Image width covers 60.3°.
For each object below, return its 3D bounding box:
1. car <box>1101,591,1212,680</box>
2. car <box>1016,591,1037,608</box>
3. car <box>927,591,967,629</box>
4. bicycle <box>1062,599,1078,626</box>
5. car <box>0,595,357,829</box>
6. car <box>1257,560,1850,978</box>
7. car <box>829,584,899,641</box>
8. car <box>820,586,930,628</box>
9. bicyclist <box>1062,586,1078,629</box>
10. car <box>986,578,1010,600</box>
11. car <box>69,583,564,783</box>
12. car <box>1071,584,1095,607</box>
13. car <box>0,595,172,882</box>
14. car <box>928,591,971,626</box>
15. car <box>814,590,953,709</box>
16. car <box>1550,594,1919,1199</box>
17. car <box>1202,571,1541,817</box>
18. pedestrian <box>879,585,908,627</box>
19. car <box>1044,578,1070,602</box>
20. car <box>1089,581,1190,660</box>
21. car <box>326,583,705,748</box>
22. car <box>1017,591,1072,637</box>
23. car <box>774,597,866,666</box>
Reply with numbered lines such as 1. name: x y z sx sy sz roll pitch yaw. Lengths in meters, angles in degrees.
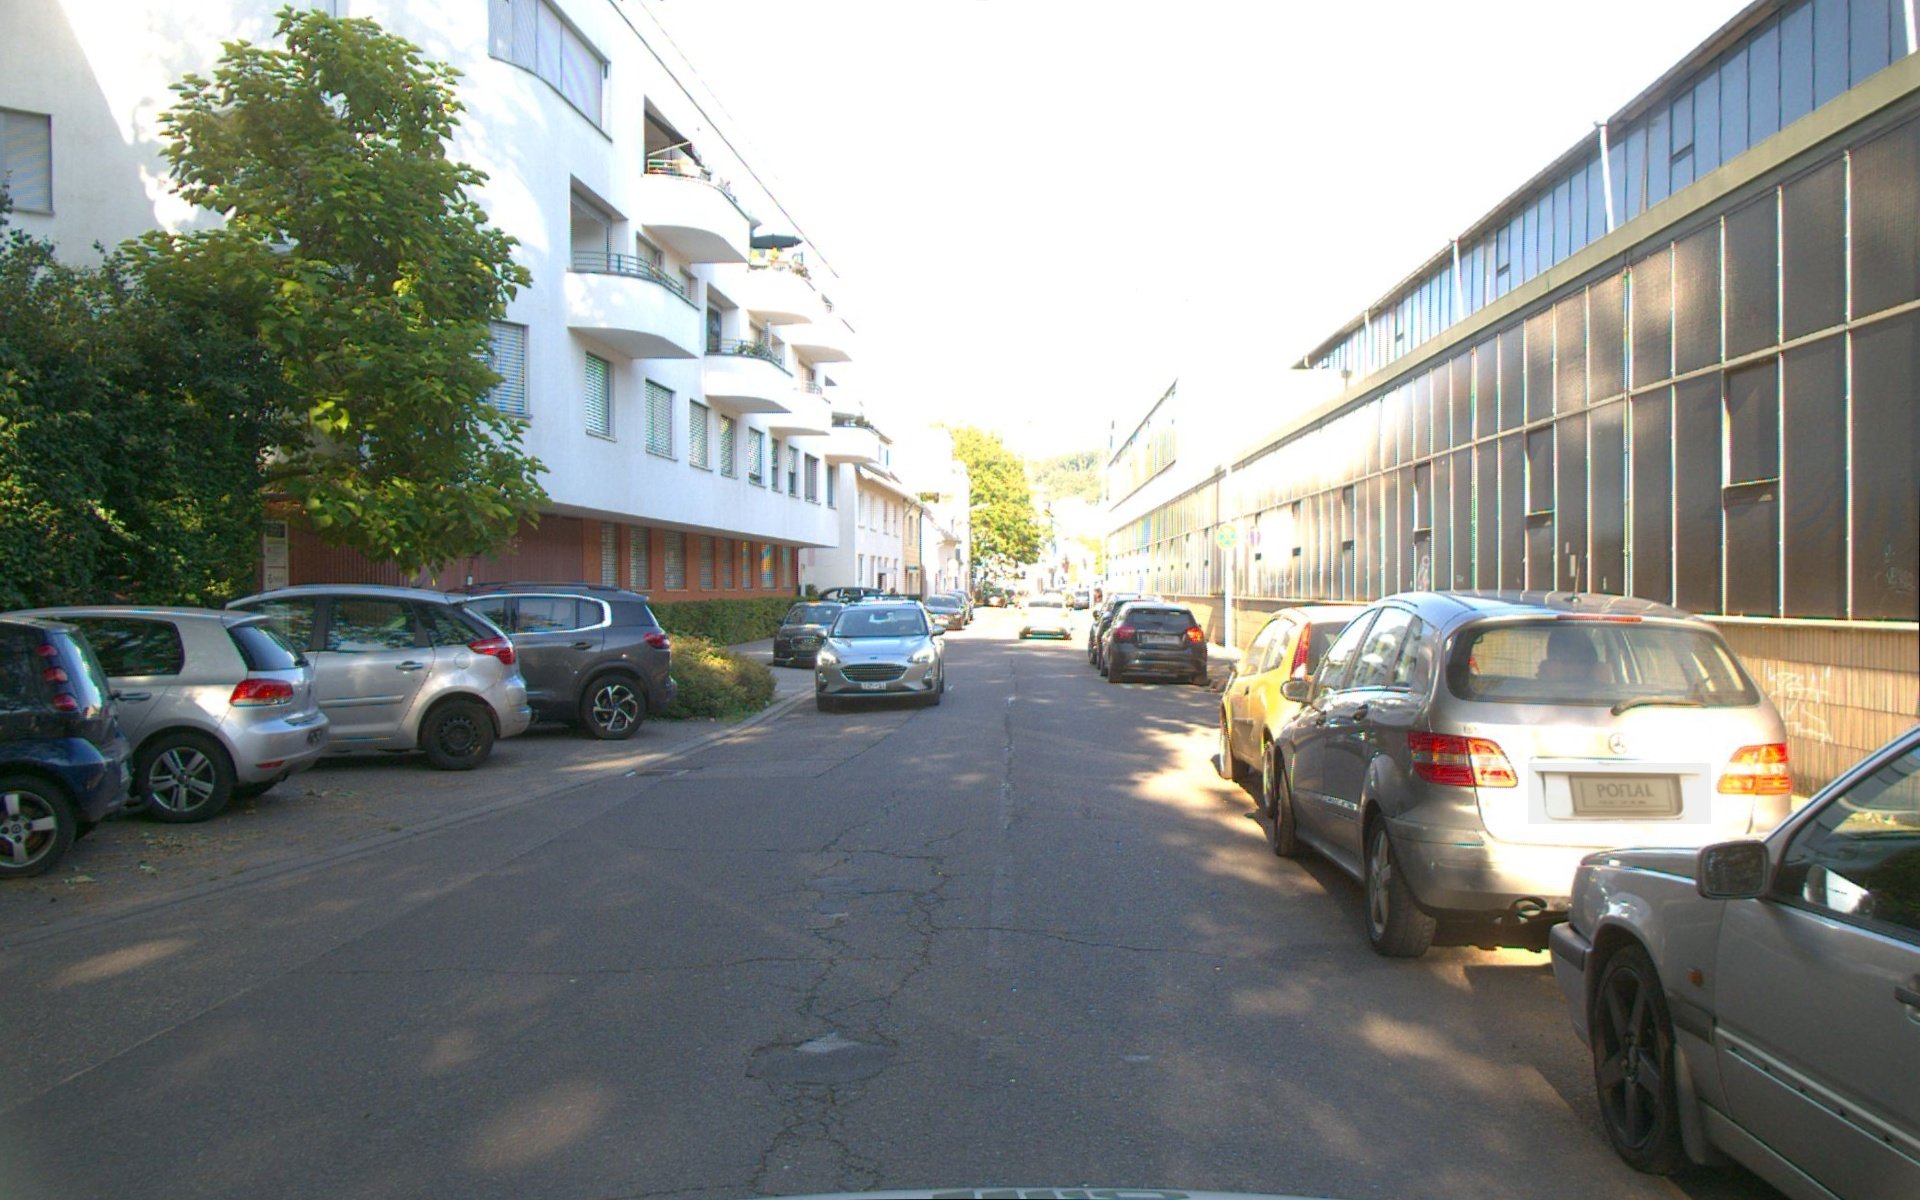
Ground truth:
1. car: 3.619 0.608 31.124 1.714 1.517 4.623 1 0 2
2. car: 5.824 -0.056 143.925 1.804 1.517 4.145 0 0 2
3. car: -0.566 0.400 71.322 1.650 1.562 4.334 1 0 -1
4. bicycle: 4.691 0.526 70.399 0.683 1.150 2.404 0 0 4
5. car: -6.492 0.768 12.184 3.571 1.588 1.696 0 0 -9
6. car: 2.752 0.671 8.760 1.714 1.663 4.310 0 0 2
7. car: -2.809 0.350 49.334 1.820 1.615 4.621 1 0 0
8. car: -3.352 0.275 65.746 4.231 1.562 1.690 1 0 0
9. bicyclist: 4.673 0.311 70.274 0.683 1.821 1.041 0 0 4
10. car: 3.336 -0.984 145.569 1.814 1.822 4.610 0 1 4
11. car: -5.887 0.686 15.424 4.069 1.669 1.765 0 0 -22
12. car: 9.505 -0.364 128.027 1.596 1.614 4.071 -4 0 3
13. car: -6.586 0.776 9.542 3.589 1.588 1.688 0 0 -24
14. car: -0.491 0.401 82.240 1.819 1.614 4.338 1 1 4
15. car: -1.084 0.666 25.006 1.861 1.563 4.620 -2 0 -1
16. car: 2.767 0.748 2.870 1.861 1.519 4.529 0 0 0
17. car: 3.091 0.633 13.249 1.715 1.663 4.001 0 0 0
18. pedestrian: -3.006 0.266 74.699 0.844 1.850 1.131 3 1 26
19. car: 7.563 -0.793 129.375 1.815 1.822 4.608 0 1 1
20. car: 3.880 0.416 36.386 1.770 1.615 4.405 1 0 1
21. car: -4.986 0.660 18.578 3.898 1.691 1.686 0 0 -26
22. car: 2.878 0.444 56.608 1.804 1.517 4.145 0 0 2
23. car: -3.117 0.674 37.435 1.640 1.458 3.771 1 0 1
